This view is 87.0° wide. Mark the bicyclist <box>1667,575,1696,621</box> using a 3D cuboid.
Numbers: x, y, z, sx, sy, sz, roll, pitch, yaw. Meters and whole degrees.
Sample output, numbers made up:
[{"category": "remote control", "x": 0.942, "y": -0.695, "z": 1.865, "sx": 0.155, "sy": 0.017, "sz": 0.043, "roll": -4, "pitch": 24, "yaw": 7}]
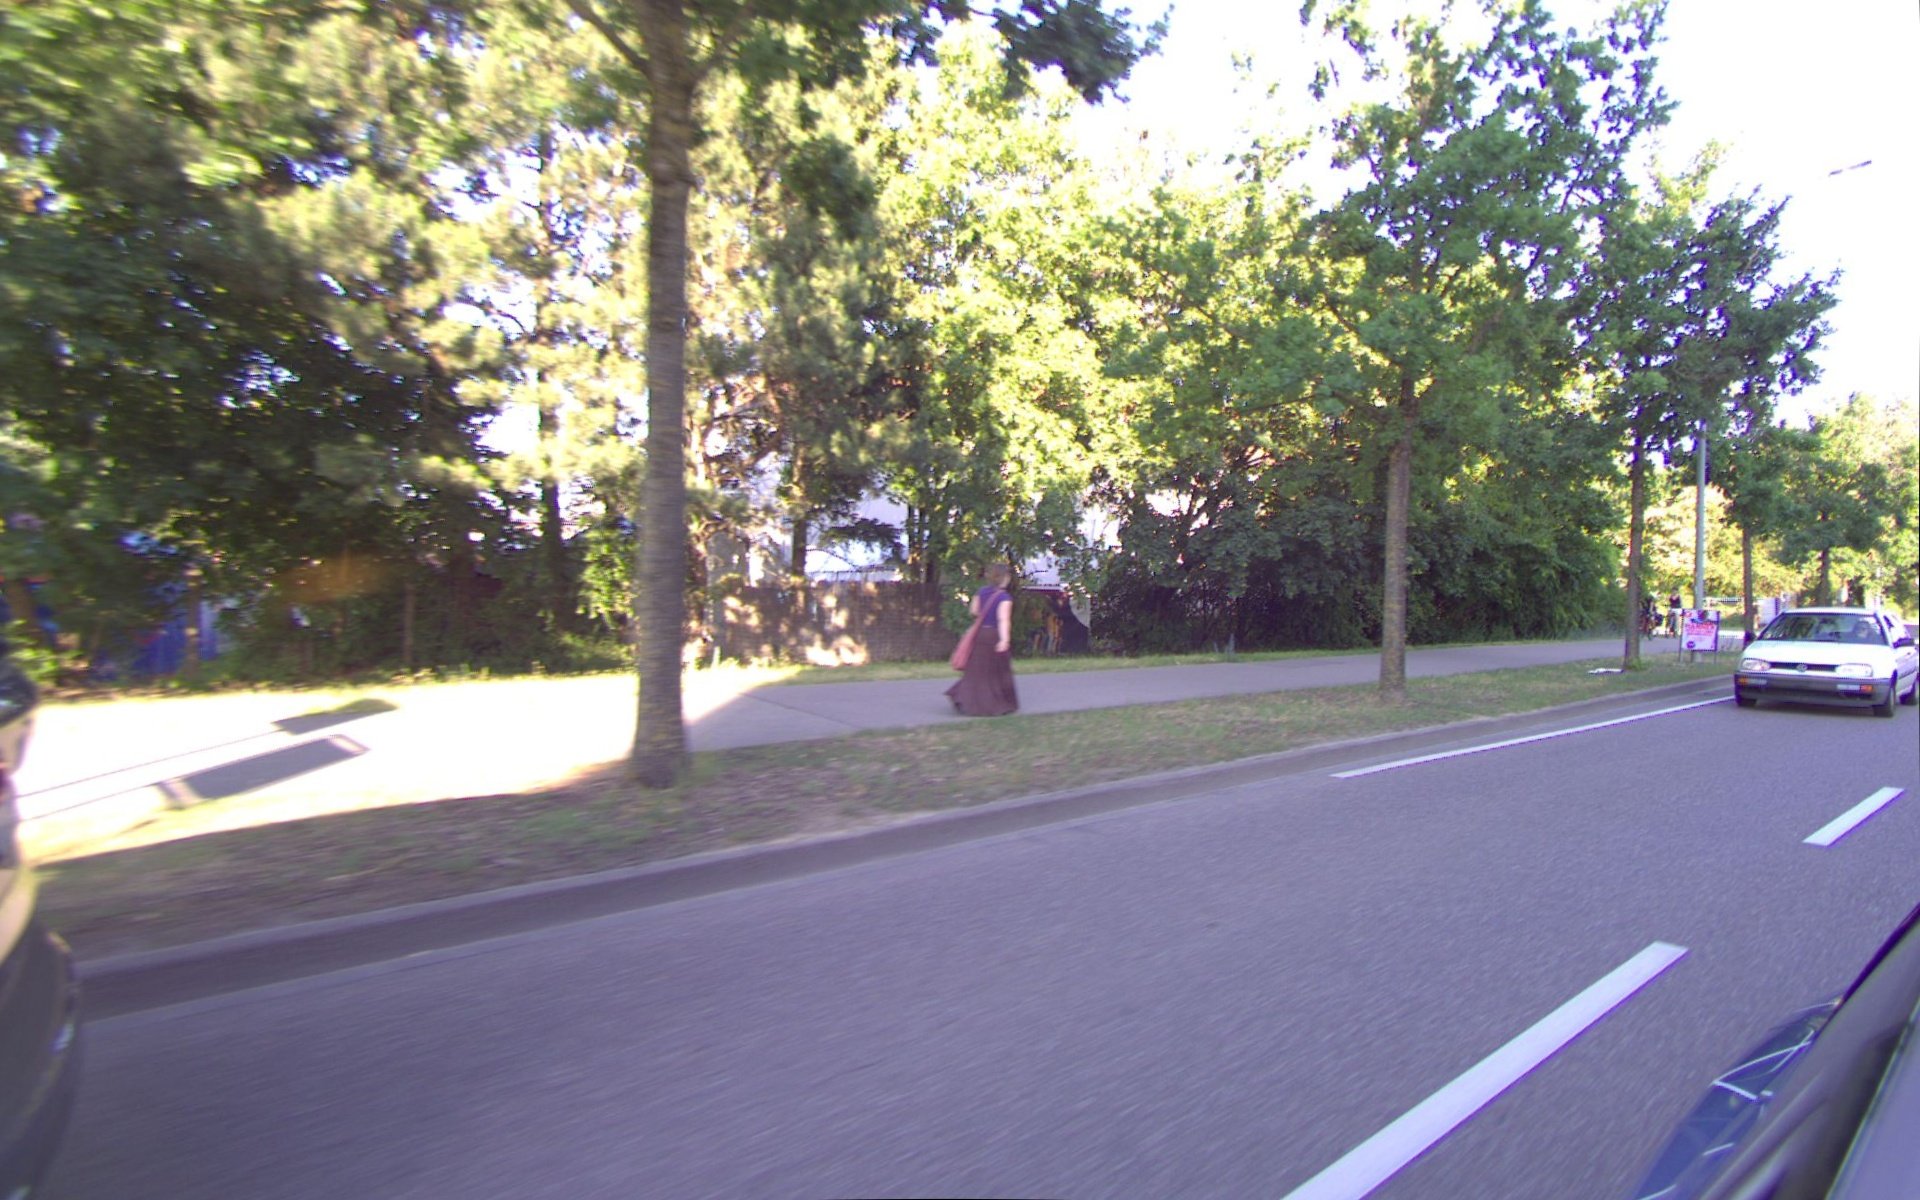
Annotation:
[{"category": "bicyclist", "x": 25.564, "y": -0.071, "z": 35.852, "sx": 0.833, "sy": 1.598, "sz": 0.604, "roll": 0, "pitch": 1, "yaw": -39}]

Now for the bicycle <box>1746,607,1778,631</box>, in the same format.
[{"category": "bicycle", "x": 33.865, "y": 0.782, "z": 42.734, "sx": 2.021, "sy": 0.986, "sz": 0.618, "roll": 0, "pitch": 1, "yaw": -39}]

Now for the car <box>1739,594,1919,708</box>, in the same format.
[{"category": "car", "x": 12.713, "y": 0.659, "z": 14.481, "sx": 3.965, "sy": 1.416, "sz": 1.614, "roll": 1, "pitch": 0, "yaw": -39}]

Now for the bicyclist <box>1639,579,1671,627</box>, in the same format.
[{"category": "bicyclist", "x": 22.302, "y": 0.098, "z": 32.464, "sx": 0.833, "sy": 1.520, "sz": 0.614, "roll": 0, "pitch": 1, "yaw": -39}]

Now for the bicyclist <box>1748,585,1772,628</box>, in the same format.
[{"category": "bicyclist", "x": 33.647, "y": 0.272, "z": 42.561, "sx": 0.833, "sy": 1.755, "sz": 0.604, "roll": 0, "pitch": 1, "yaw": -39}]

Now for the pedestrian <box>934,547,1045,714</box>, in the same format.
[{"category": "pedestrian", "x": 0.307, "y": 0.281, "z": 10.308, "sx": 0.670, "sy": 1.593, "sz": 0.897, "roll": 3, "pitch": 2, "yaw": 41}]

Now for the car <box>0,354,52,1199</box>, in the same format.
[{"category": "car", "x": -3.641, "y": 0.502, "z": 0.543, "sx": 4.617, "sy": 1.748, "sz": 1.958, "roll": -1, "pitch": 1, "yaw": -41}]

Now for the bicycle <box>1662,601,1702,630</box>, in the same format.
[{"category": "bicycle", "x": 25.599, "y": 0.525, "z": 35.882, "sx": 2.021, "sy": 0.986, "sz": 0.618, "roll": 0, "pitch": 1, "yaw": -39}]

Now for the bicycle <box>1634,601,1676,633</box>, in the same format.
[{"category": "bicycle", "x": 22.319, "y": 0.535, "z": 32.479, "sx": 1.789, "sy": 0.986, "sz": 0.618, "roll": 0, "pitch": 1, "yaw": -39}]
